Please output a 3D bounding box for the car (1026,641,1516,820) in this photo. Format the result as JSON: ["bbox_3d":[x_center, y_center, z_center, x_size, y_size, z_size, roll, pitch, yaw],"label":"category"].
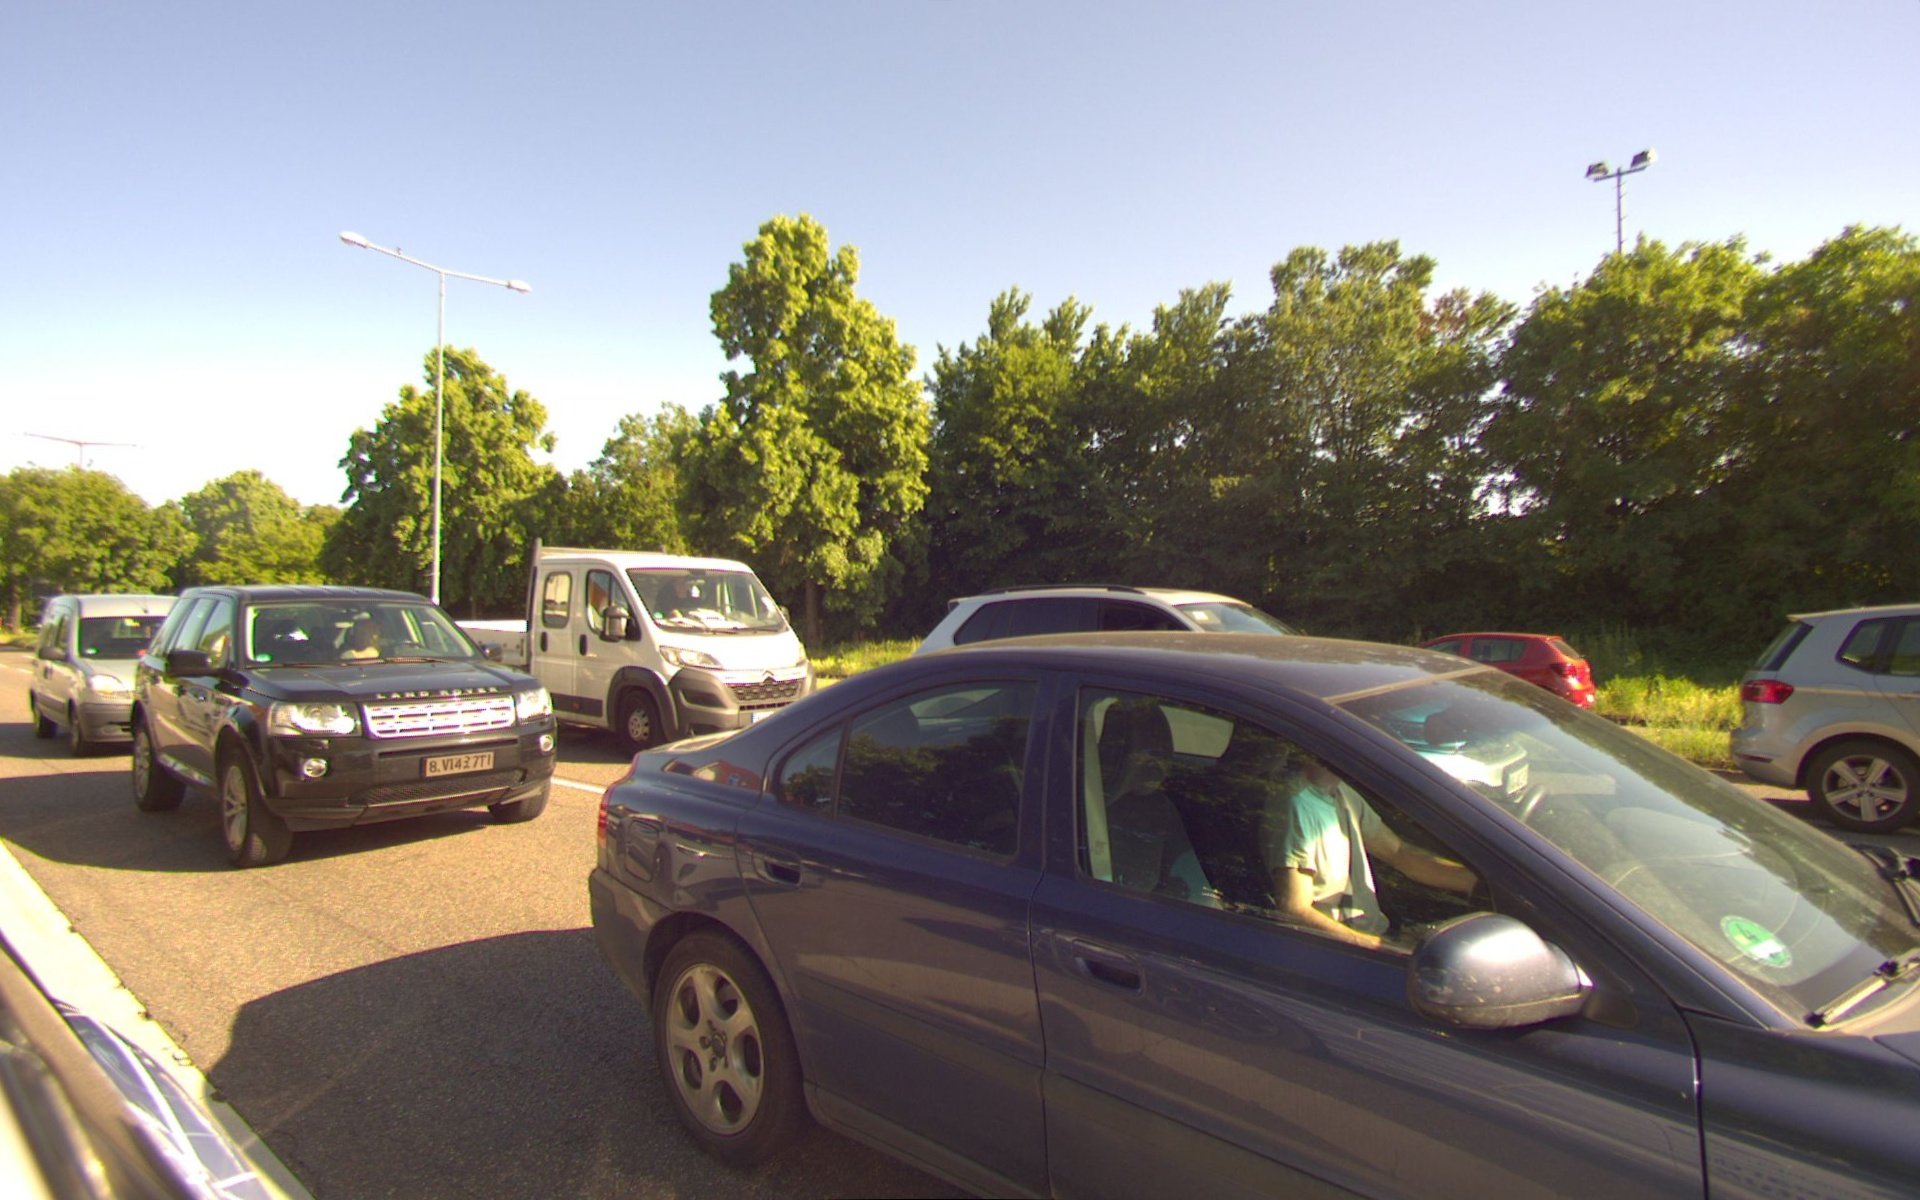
[{"bbox_3d":[3.037,1.163,10.544,4.550,1.440,1.811,-2,-3,41],"label":"car"}]

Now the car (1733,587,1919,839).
[{"bbox_3d":[7.636,0.728,6.415,4.206,1.623,1.810,-2,-3,42],"label":"car"}]

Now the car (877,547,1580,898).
[{"bbox_3d":[1.654,0.675,7.195,4.422,1.723,1.973,-2,-3,41],"label":"car"}]

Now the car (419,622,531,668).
[{"bbox_3d":[-16.232,1.487,33.786,4.613,1.444,1.668,-2,-3,41],"label":"car"}]

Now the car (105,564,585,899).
[{"bbox_3d":[-4.690,0.710,7.422,4.384,1.744,1.793,-1,-1,41],"label":"car"}]

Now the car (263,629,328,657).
[{"bbox_3d":[-38.164,2.468,58.078,4.500,1.536,1.869,-2,-3,40],"label":"car"}]

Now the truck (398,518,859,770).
[{"bbox_3d":[-4.395,0.447,12.449,6.838,2.337,2.158,-1,-1,40],"label":"truck"}]

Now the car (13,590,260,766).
[{"bbox_3d":[-10.046,0.805,12.224,4.384,1.765,1.611,-1,-1,41],"label":"car"}]

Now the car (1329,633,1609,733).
[{"bbox_3d":[8.625,1.329,17.353,4.001,1.521,1.668,-2,-3,41],"label":"car"}]

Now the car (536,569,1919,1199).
[{"bbox_3d":[0.897,0.699,2.427,4.454,1.463,1.757,-1,0,41],"label":"car"}]
